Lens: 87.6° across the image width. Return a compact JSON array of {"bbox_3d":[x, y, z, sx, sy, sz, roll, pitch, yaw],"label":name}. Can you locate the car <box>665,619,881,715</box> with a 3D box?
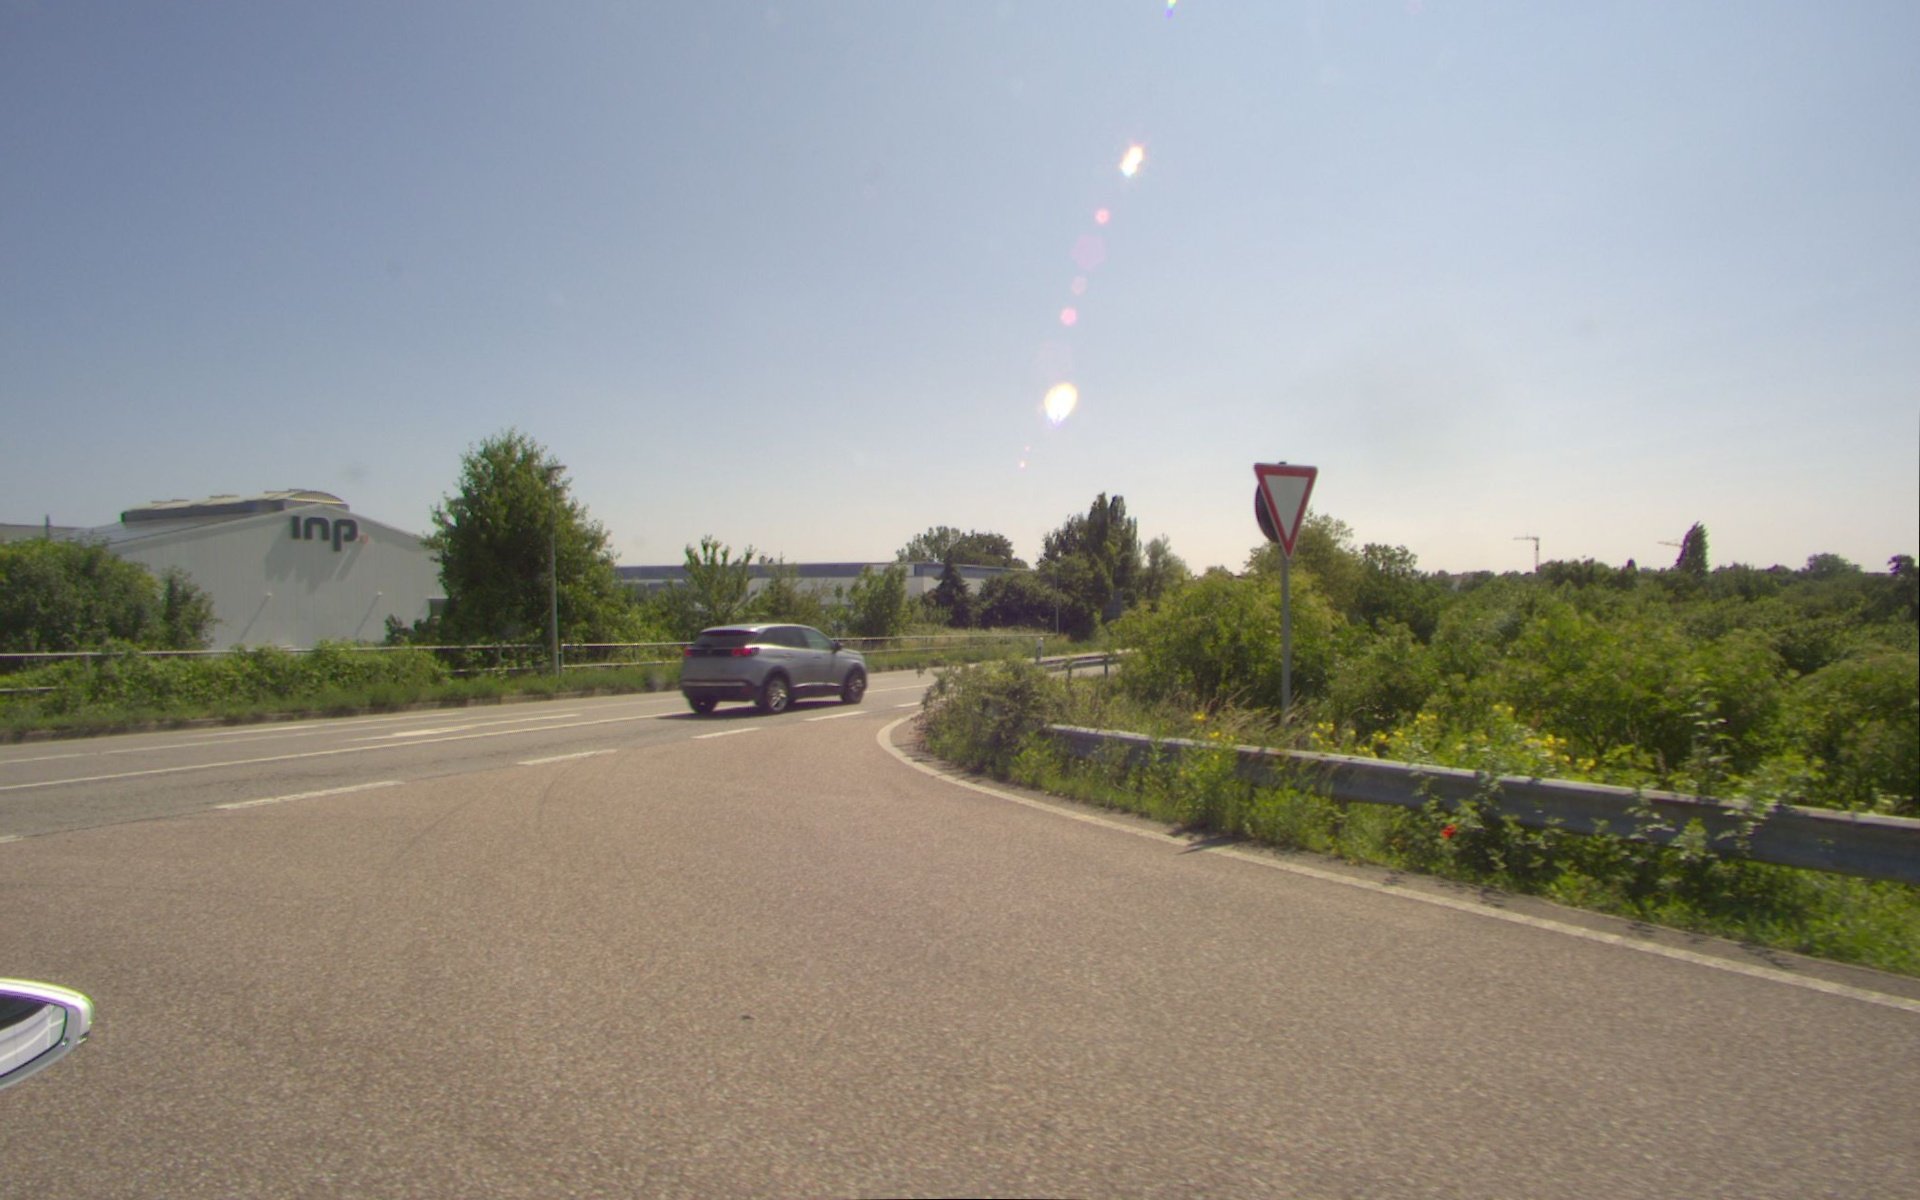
[{"bbox_3d":[-3.393,1.214,19.138,1.769,1.603,4.477,-1,-2,26],"label":"car"}]
